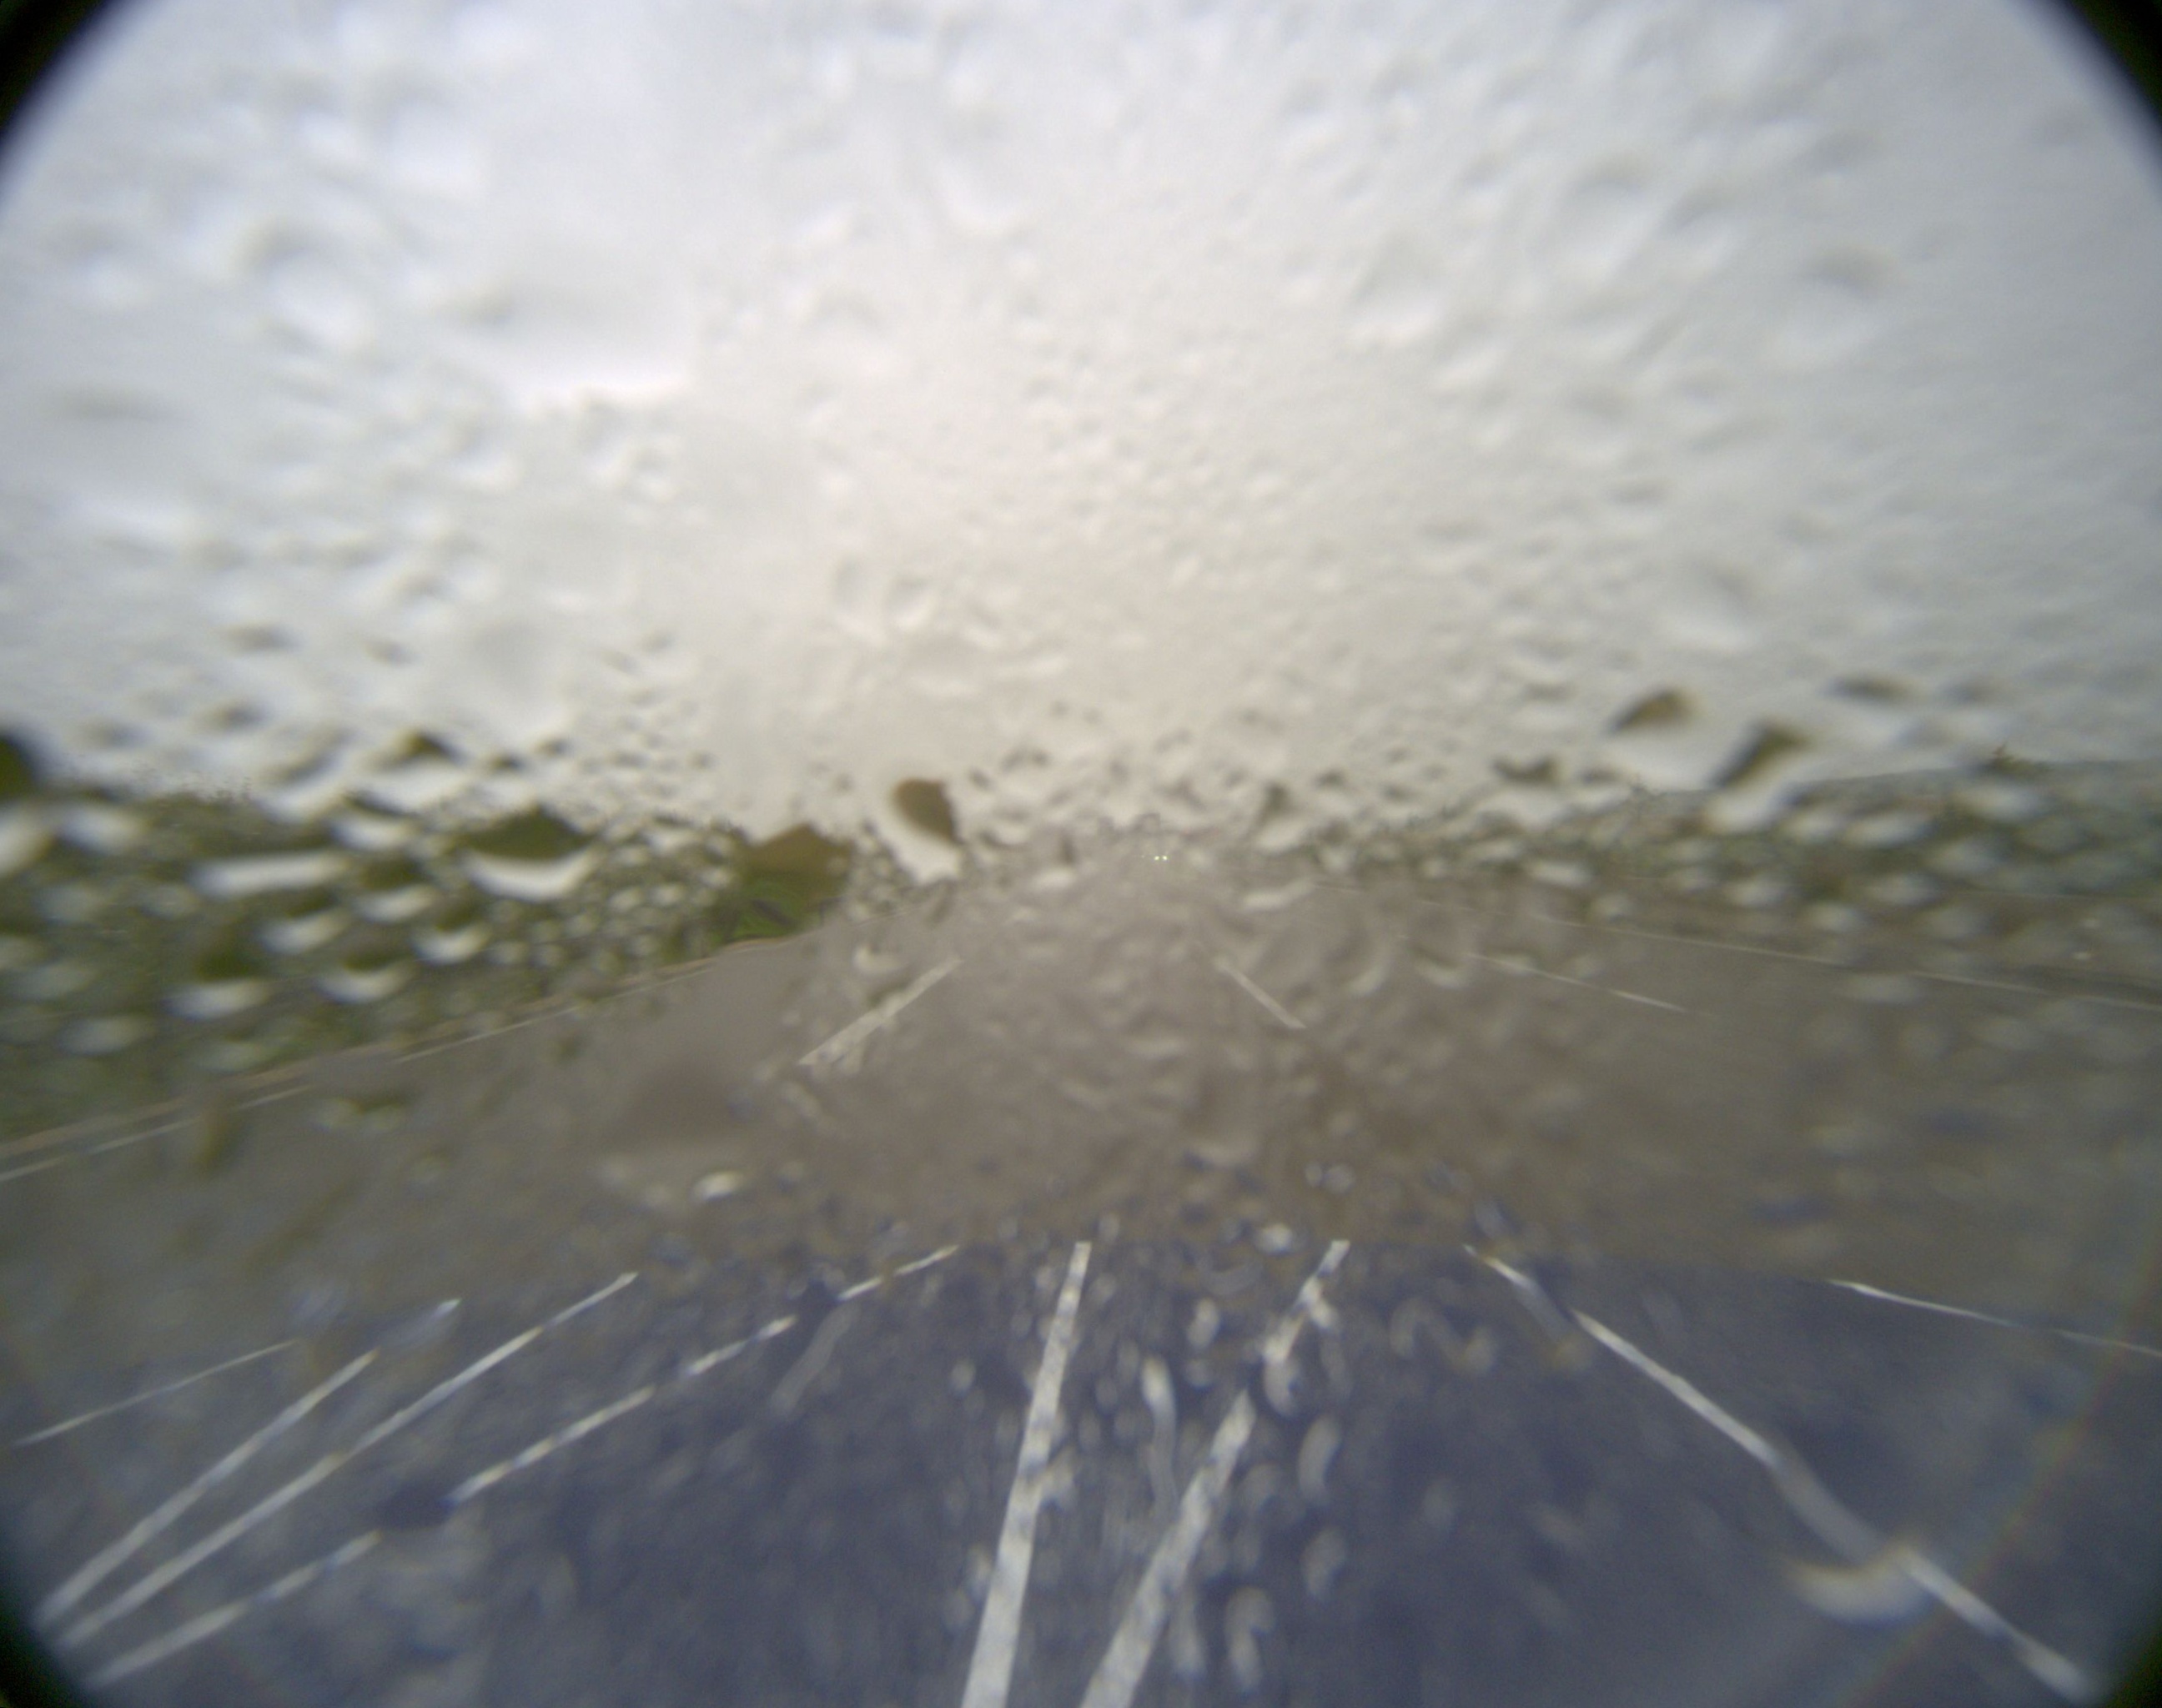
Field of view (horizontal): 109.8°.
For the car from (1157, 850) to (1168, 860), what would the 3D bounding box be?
[{"bbox_3d":[13.475,0.100,126.213,1.700,1.543,3.734,-3,1,5],"label":"car"}]
